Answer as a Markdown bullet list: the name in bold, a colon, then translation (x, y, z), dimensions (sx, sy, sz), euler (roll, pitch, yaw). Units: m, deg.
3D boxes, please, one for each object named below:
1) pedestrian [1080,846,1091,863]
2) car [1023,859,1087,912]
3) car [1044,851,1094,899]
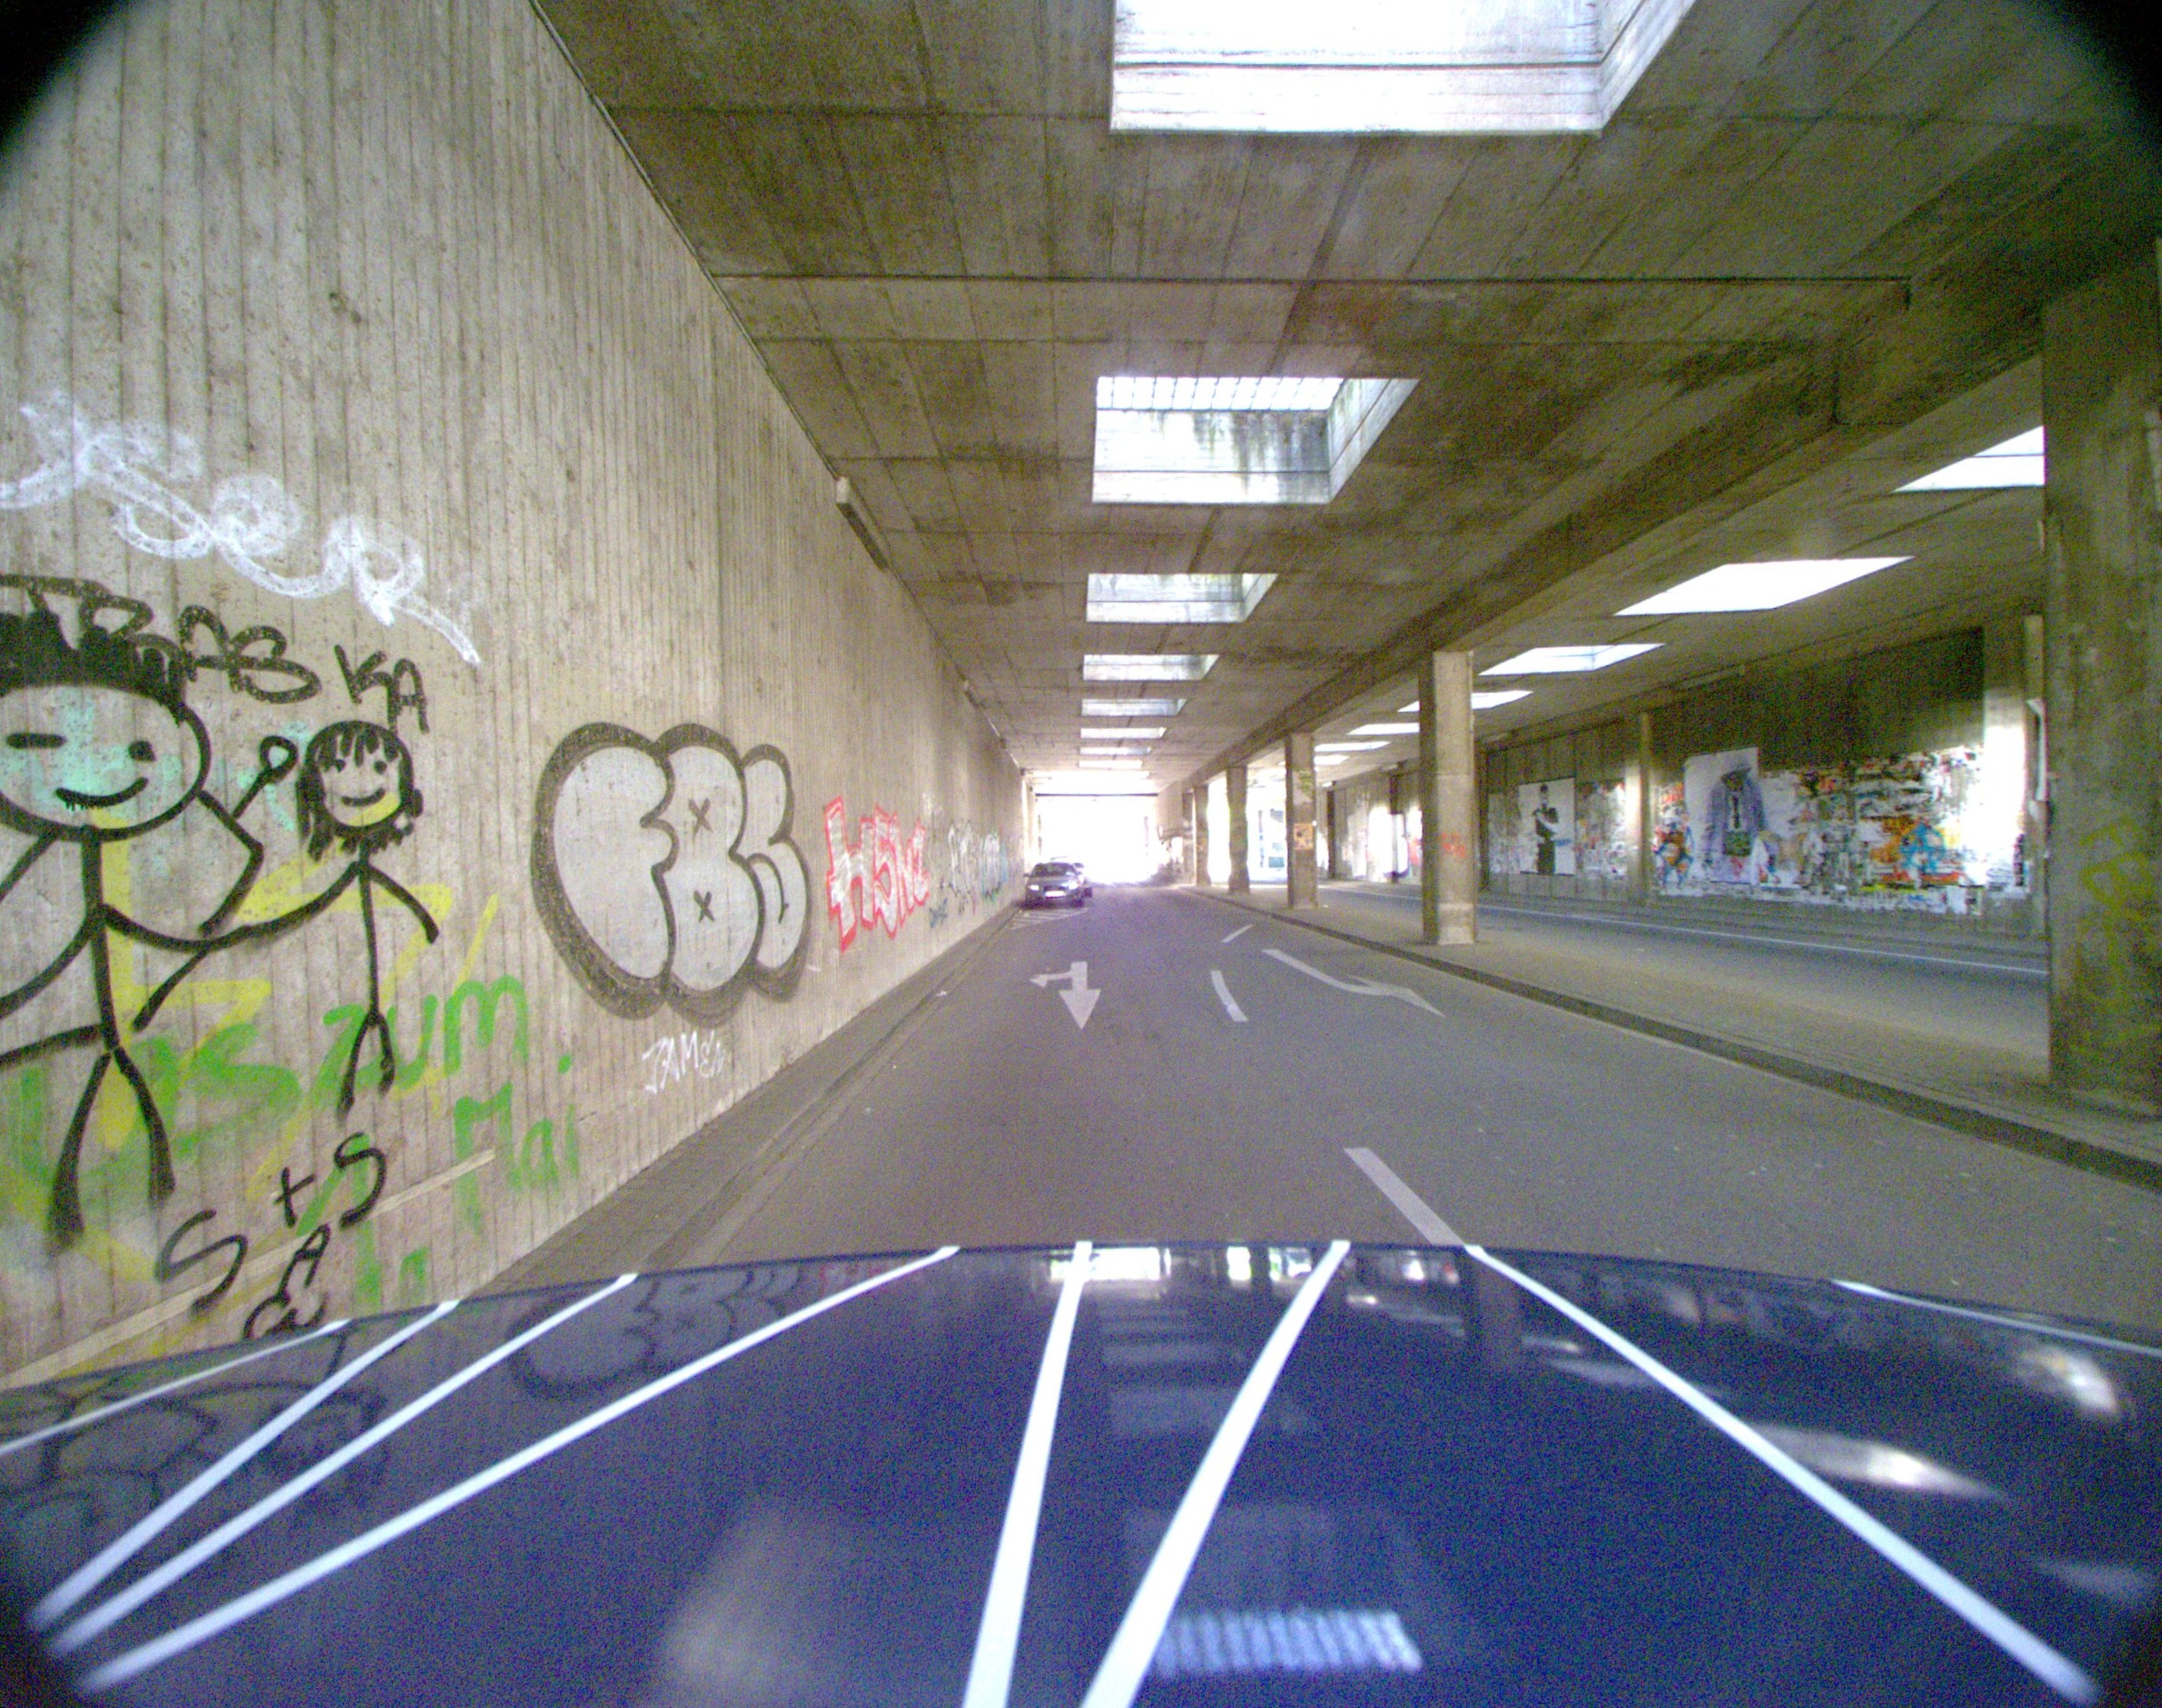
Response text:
- **pedestrian**: translation (0.578, 0.007, 92.015), dimensions (1.215, 2.002, 1.490), euler (-2, 1, 0)
- **car**: translation (-0.734, 0.915, 24.021), dimensions (1.767, 1.407, 3.999), euler (-2, 1, 1)
- **car**: translation (-0.514, 0.766, 29.786), dimensions (1.767, 1.634, 3.999), euler (-2, 1, -2)
